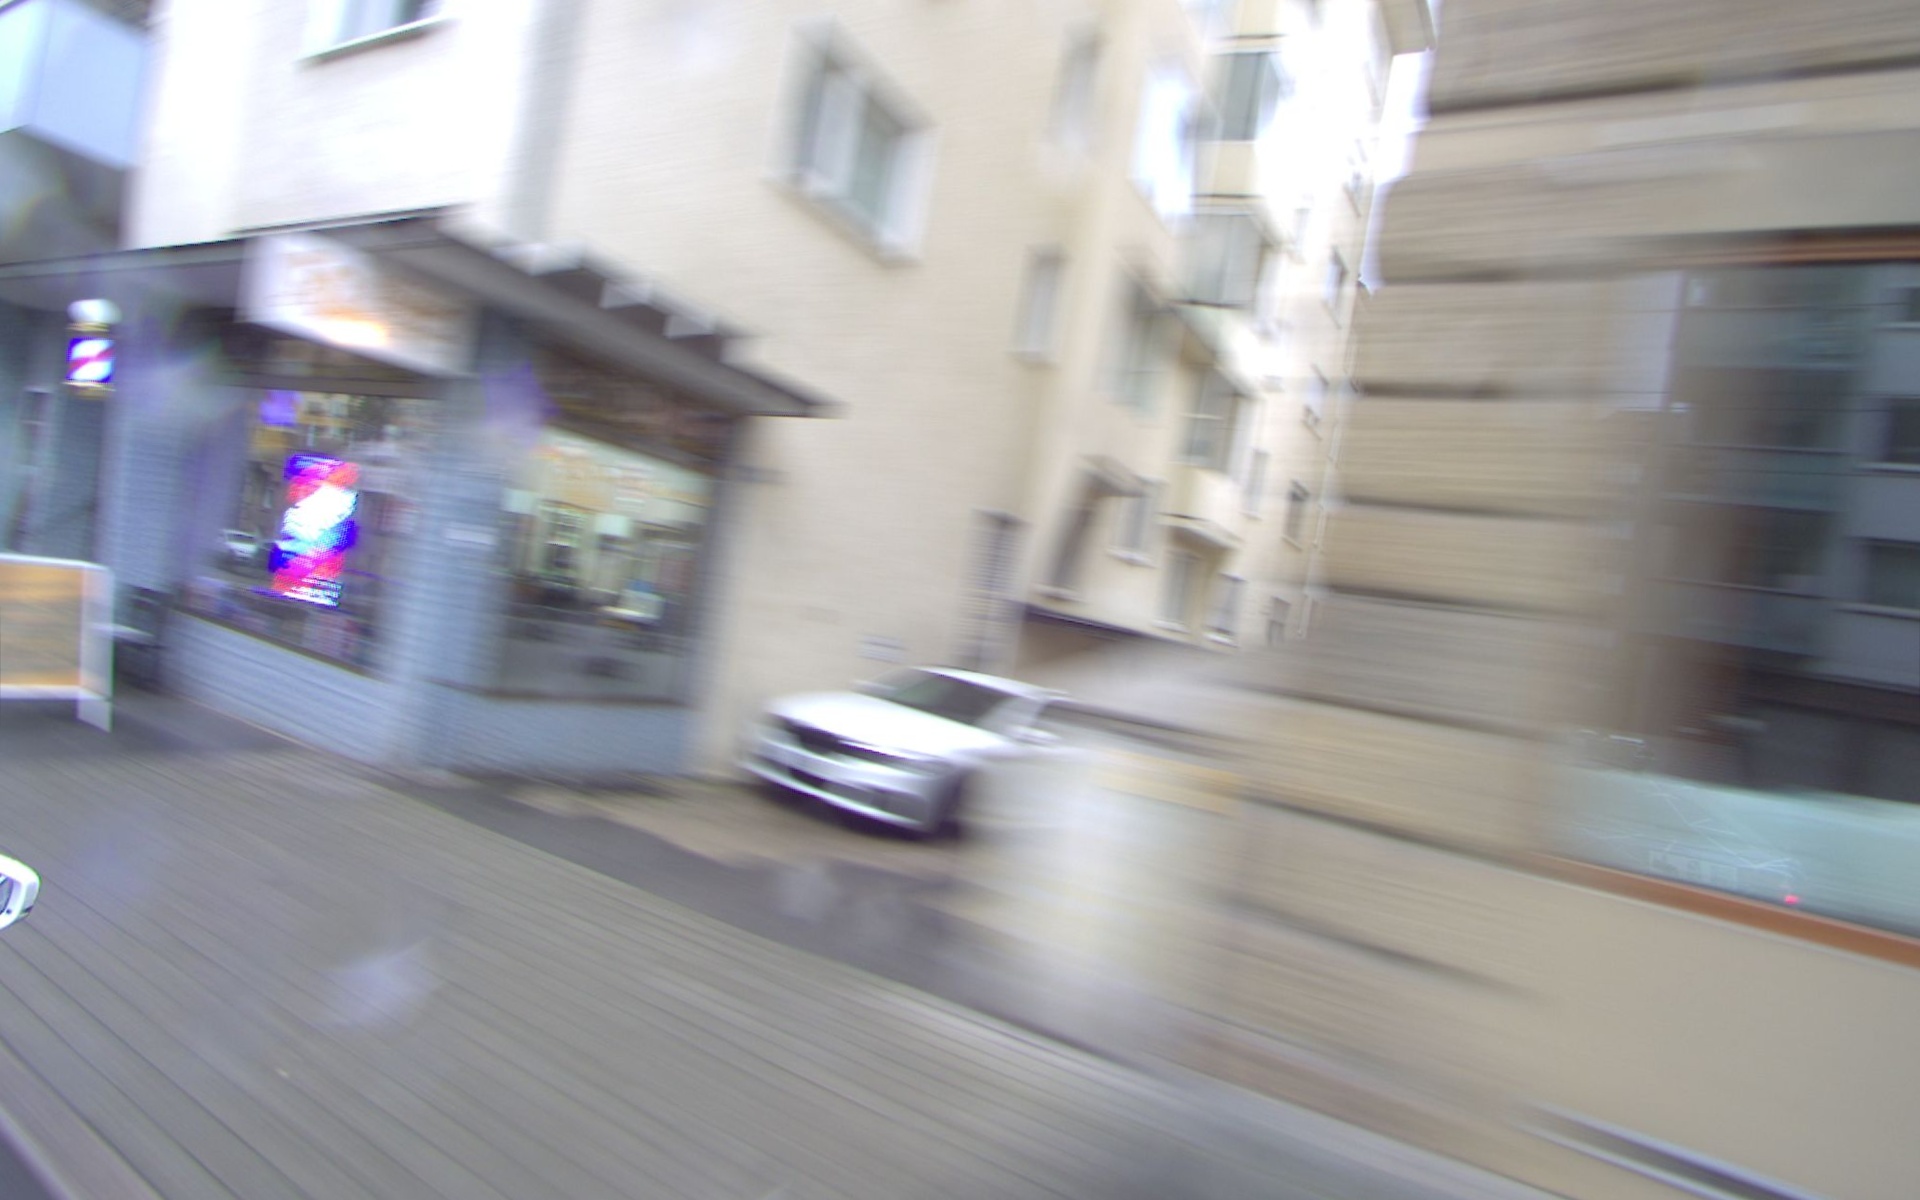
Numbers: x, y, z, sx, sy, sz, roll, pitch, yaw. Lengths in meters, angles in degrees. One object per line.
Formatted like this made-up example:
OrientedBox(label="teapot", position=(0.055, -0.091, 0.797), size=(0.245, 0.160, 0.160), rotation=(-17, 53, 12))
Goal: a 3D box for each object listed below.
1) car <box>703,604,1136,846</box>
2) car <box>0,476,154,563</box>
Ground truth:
OrientedBox(label="car", position=(-0.084, 1.397, 10.079), size=(1.864, 1.565, 4.634), rotation=(11, -5, 32))
OrientedBox(label="car", position=(-19.429, -1.785, 20.711), size=(1.733, 1.431, 3.991), rotation=(8, -1, 34))
